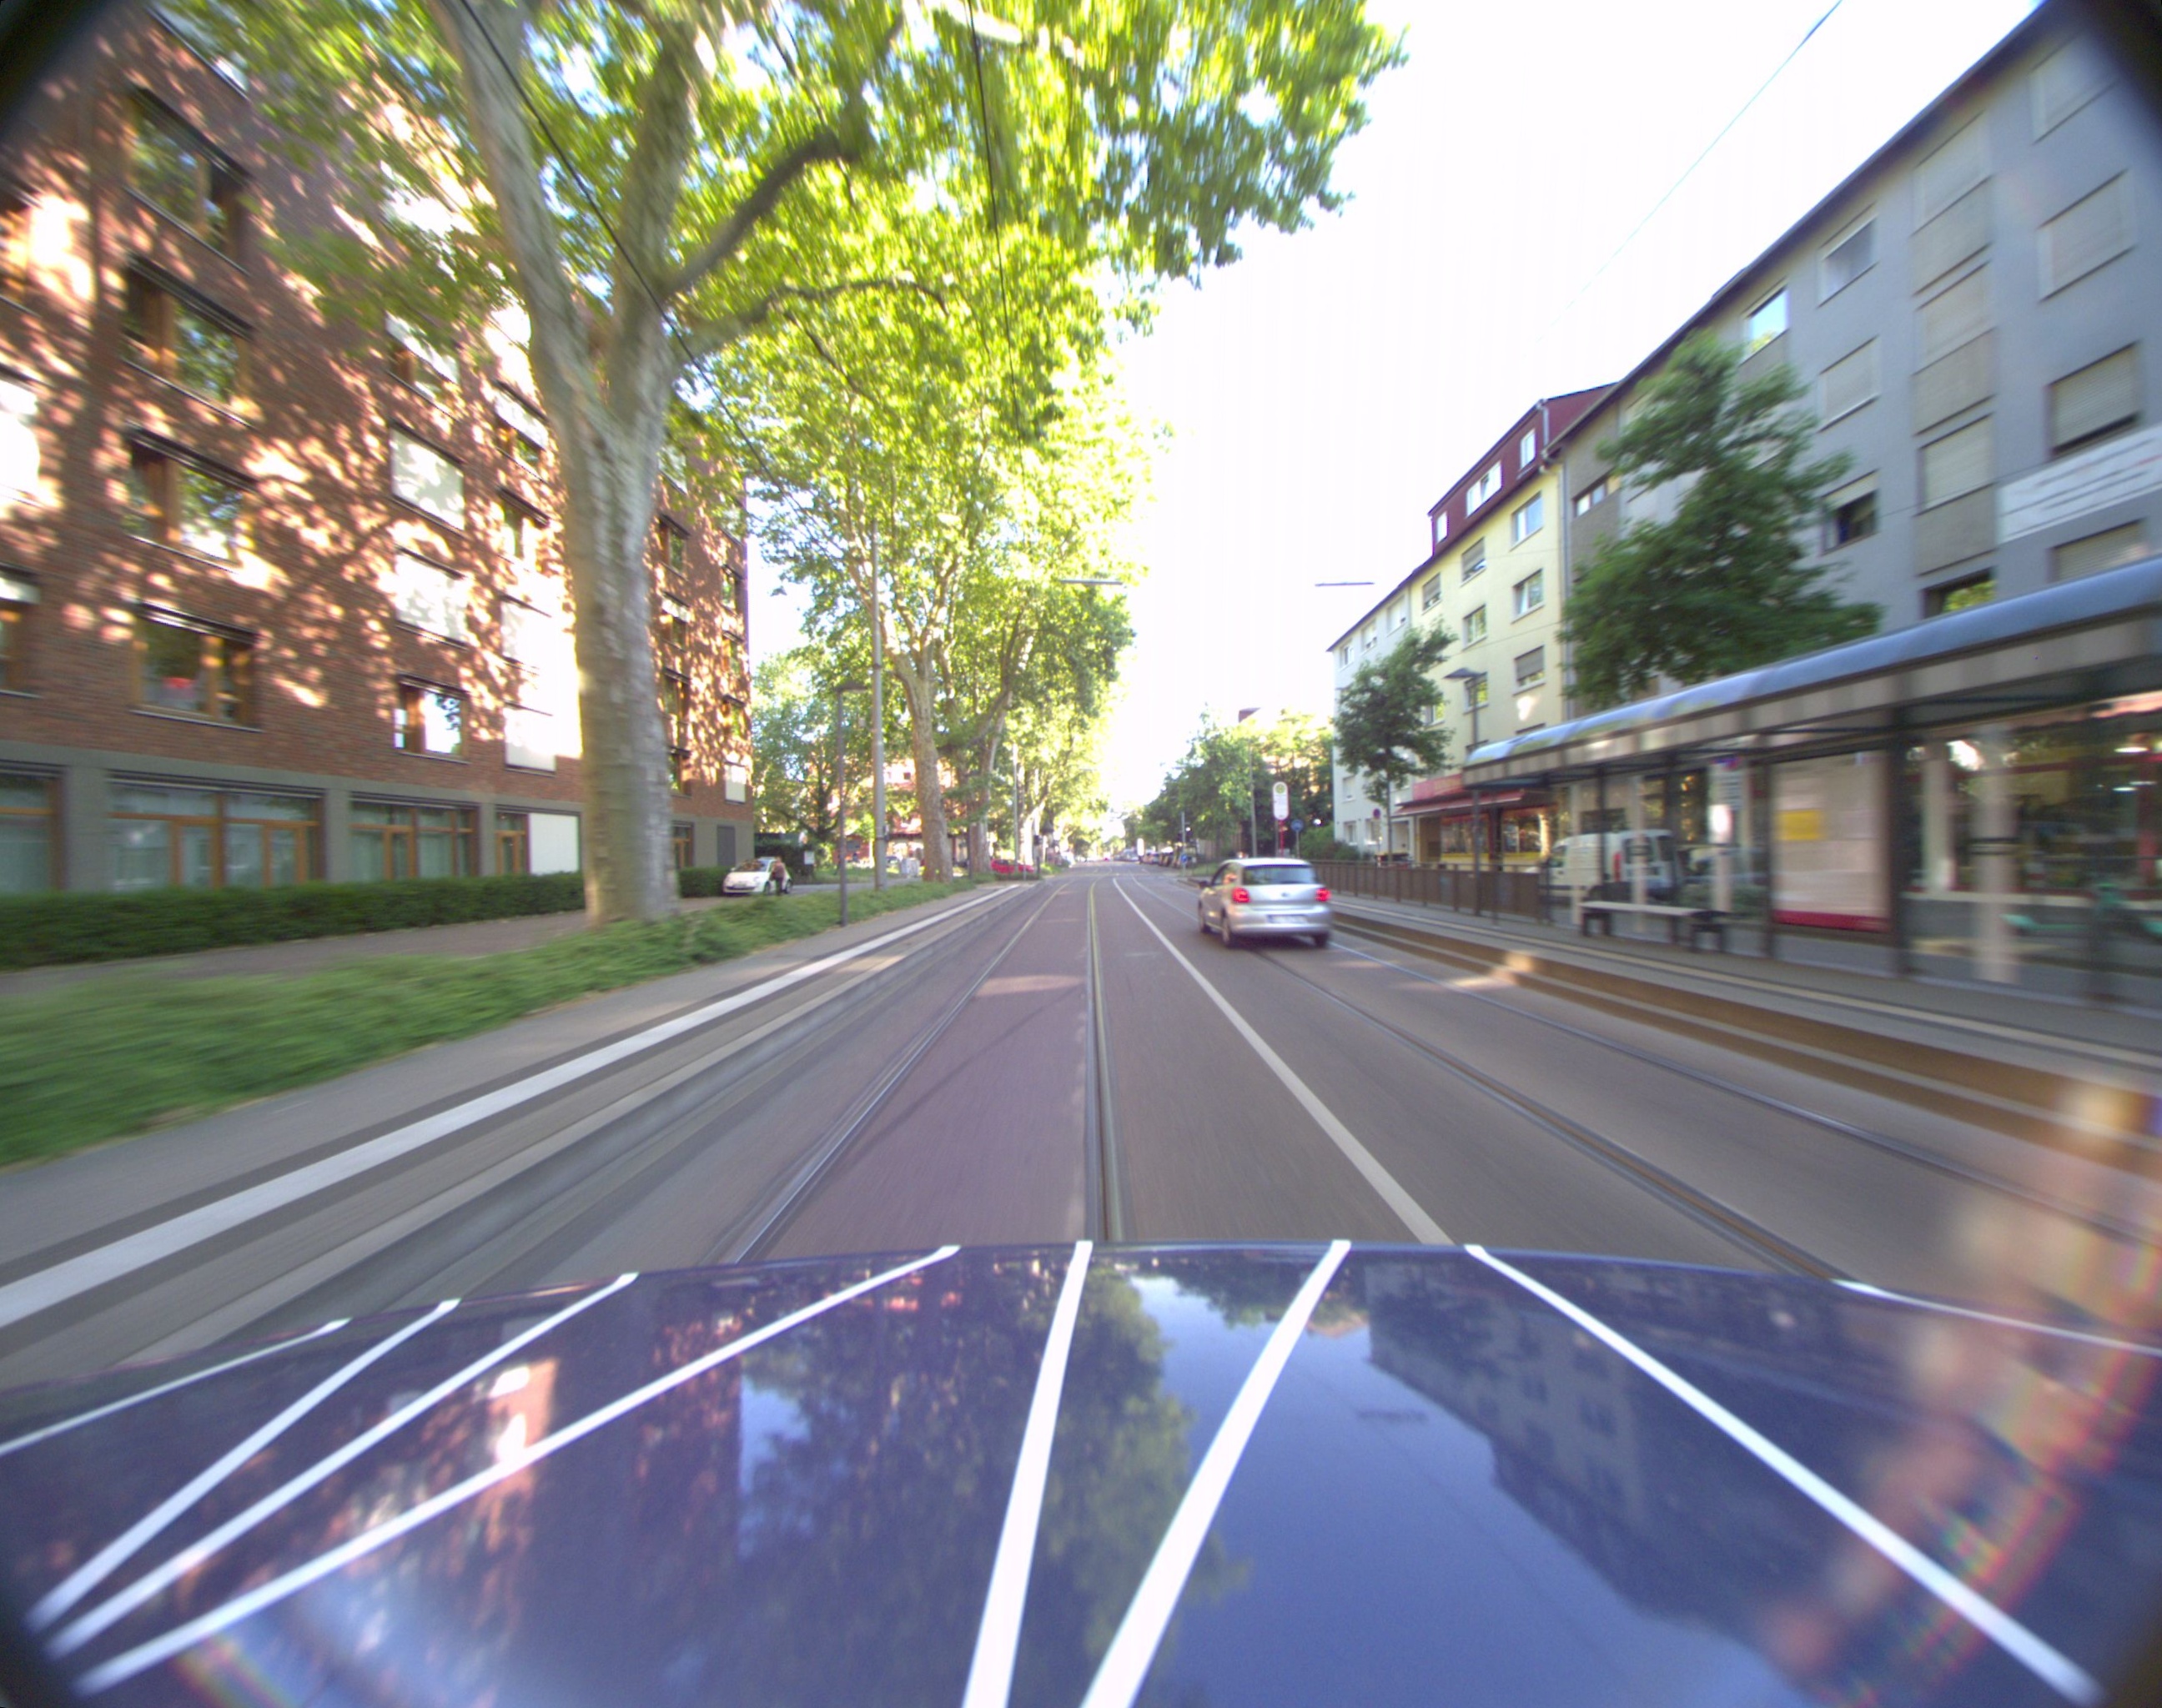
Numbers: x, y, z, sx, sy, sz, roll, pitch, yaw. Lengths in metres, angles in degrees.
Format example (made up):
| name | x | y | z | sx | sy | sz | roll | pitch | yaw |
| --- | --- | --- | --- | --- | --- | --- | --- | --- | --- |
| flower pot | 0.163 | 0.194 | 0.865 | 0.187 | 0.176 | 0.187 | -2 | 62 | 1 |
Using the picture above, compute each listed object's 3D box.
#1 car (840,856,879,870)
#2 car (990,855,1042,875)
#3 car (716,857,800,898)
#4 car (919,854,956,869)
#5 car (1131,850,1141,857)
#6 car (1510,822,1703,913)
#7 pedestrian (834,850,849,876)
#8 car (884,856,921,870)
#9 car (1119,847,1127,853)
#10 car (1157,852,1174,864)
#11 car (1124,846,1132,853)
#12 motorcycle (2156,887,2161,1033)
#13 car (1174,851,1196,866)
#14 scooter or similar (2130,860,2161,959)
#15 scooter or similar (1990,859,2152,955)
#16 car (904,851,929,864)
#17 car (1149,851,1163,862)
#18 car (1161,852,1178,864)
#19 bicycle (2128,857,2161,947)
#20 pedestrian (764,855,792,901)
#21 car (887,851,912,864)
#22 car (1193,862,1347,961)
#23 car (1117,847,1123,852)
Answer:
| name | x | y | z | sx | sy | sz | roll | pitch | yaw |
| --- | --- | --- | --- | --- | --- | --- | --- | --- | --- |
| car | -24.652 | 1.000 | 84.609 | 3.674 | 1.521 | 2.000 | -1 | 0 | 2 |
| car | -5.111 | 0.836 | 60.355 | 3.872 | 1.521 | 2.000 | -1 | 0 | 2 |
| car | -12.983 | 0.909 | 30.836 | 1.657 | 1.499 | 3.961 | -1 | 0 | 1 |
| car | -15.937 | 0.830 | 84.494 | 3.674 | 1.521 | 2.000 | -1 | 0 | 2 |
| car | 12.330 | -0.030 | 169.374 | 1.998 | 1.521 | 3.677 | -1 | 0 | 0 |
| car | 12.381 | 0.282 | 18.267 | 1.808 | 1.923 | 4.049 | -1 | 0 | -1 |
| pedestrian | -16.418 | 0.613 | 52.061 | 0.689 | 1.704 | 0.703 | -1 | 1 | 8 |
| car | -19.841 | 0.972 | 84.565 | 3.674 | 1.521 | 2.000 | -1 | 0 | 2 |
| car | 11.574 | -1.180 | 210.666 | 1.998 | 1.741 | 3.677 | -1 | 0 | 0 |
| car | 11.502 | 0.494 | 103.503 | 1.998 | 1.521 | 3.678 | -1 | 0 | 3 |
| car | 11.885 | -1.067 | 192.296 | 1.998 | 1.741 | 3.677 | -1 | 0 | 0 |
| motorcycle | 8.984 | 0.838 | 5.092 | 0.851 | 1.157 | 1.915 | -1 | 0 | 0 |
| car | 11.337 | 0.473 | 82.997 | 1.998 | 1.521 | 3.678 | -1 | 0 | 3 |
| scooter or similar | 13.052 | 0.659 | 8.640 | 0.446 | 1.167 | 1.274 | -1 | 0 | -5 |
| scooter or similar | 12.926 | 0.656 | 9.960 | 0.447 | 1.167 | 1.272 | -1 | 1 | -36 |
| car | -19.883 | 0.377 | 92.081 | 1.998 | 1.521 | 3.678 | -1 | 0 | 3 |
| car | 11.543 | 0.381 | 117.829 | 1.998 | 1.521 | 3.678 | -1 | 0 | 3 |
| car | 11.447 | 0.455 | 98.678 | 1.998 | 1.521 | 3.678 | -1 | 0 | 3 |
| bicycle | 14.040 | 0.616 | 9.187 | 0.513 | 1.150 | 1.688 | -1 | 0 | 4 |
| pedestrian | -11.147 | 0.874 | 27.967 | 0.710 | 1.681 | 0.748 | -1 | 1 | -1 |
| car | -22.105 | 0.422 | 92.696 | 1.998 | 1.521 | 3.678 | -1 | 0 | 3 |
| car | 3.124 | 0.885 | 13.397 | 1.766 | 1.417 | 4.000 | -1 | 0 | 1 |
| car | 12.674 | -1.468 | 247.014 | 1.998 | 1.741 | 3.677 | -1 | 0 | 0 |
